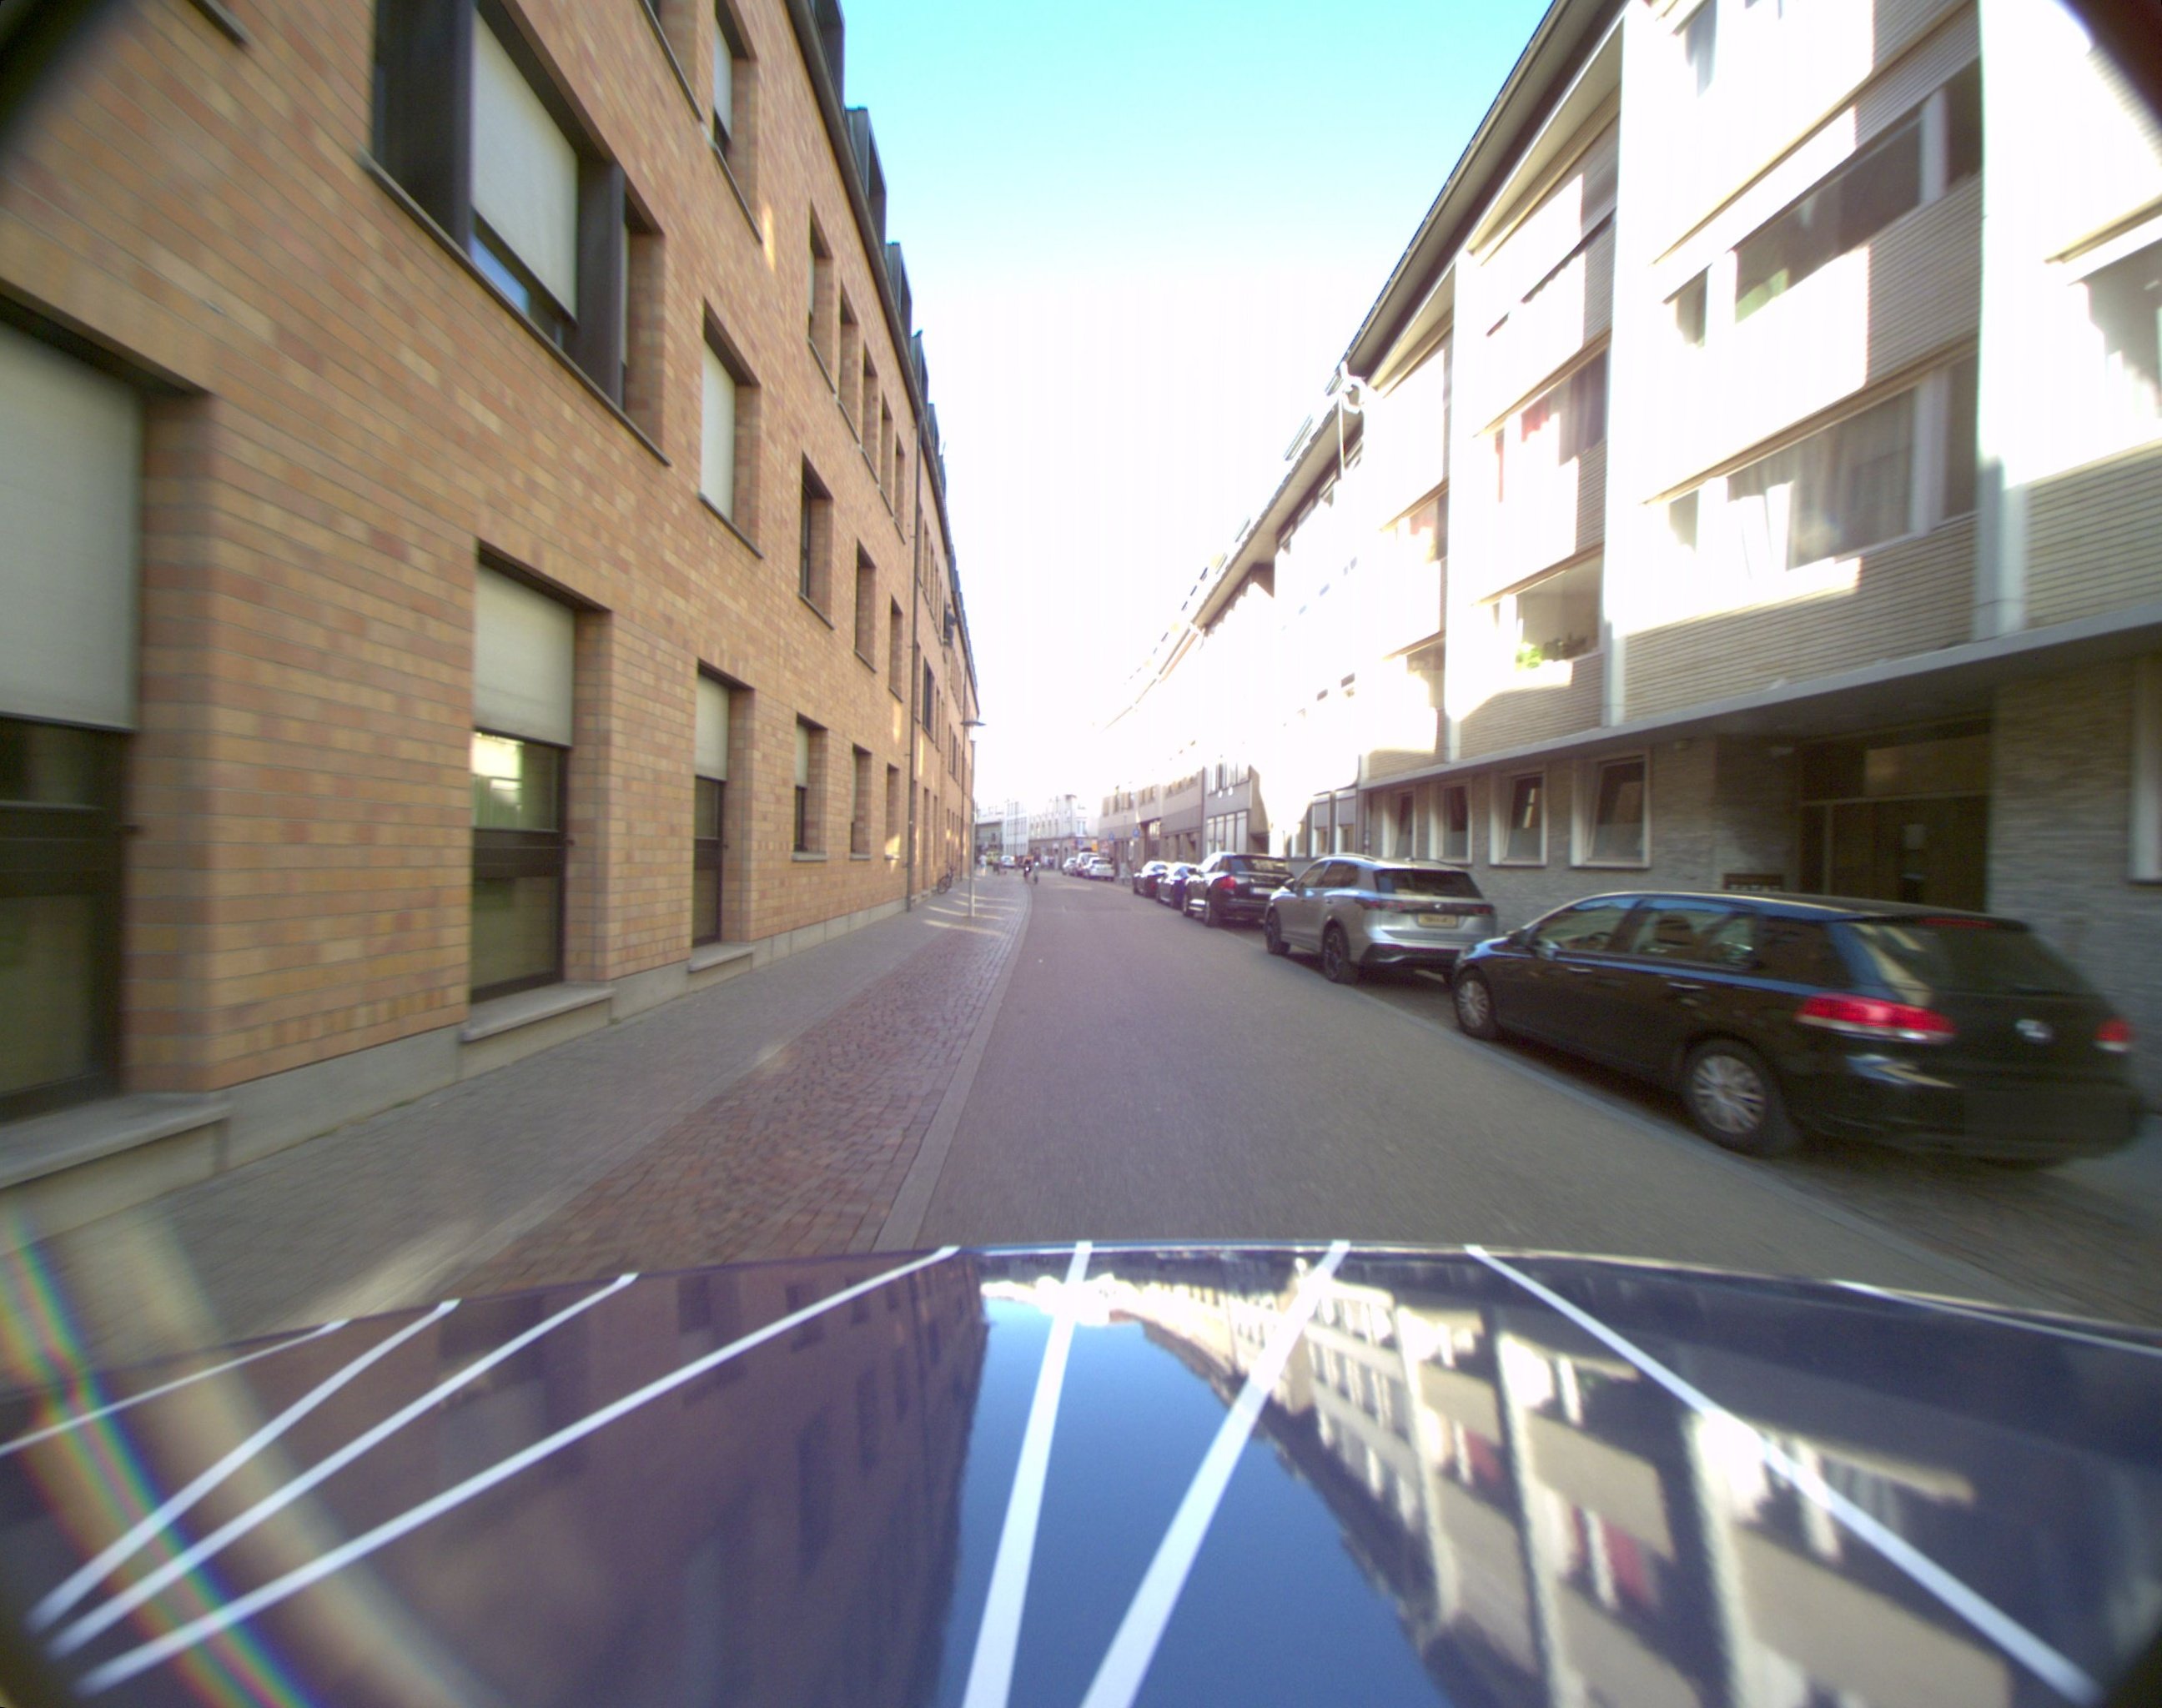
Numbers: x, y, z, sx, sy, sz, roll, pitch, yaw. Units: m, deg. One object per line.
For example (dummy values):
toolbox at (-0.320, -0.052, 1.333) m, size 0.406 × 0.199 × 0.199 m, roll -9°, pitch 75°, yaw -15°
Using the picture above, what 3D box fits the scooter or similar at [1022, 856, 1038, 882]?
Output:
scooter or similar at (-2.859, 0.823, 42.756) m, size 0.551 × 1.388 × 1.553 m, roll 1°, pitch 0°, yaw -16°

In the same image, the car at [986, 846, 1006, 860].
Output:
car at (-12.167, -0.102, 108.585) m, size 1.892 × 1.863 × 3.993 m, roll 4°, pitch 0°, yaw -19°

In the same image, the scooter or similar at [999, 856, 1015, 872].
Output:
scooter or similar at (-5.972, 0.788, 61.371) m, size 0.537 × 1.228 × 1.422 m, roll 0°, pitch 0°, yaw 32°

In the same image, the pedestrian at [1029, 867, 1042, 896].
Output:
pedestrian at (-3.136, 1.876, 52.002) m, size 0.716 × 2.002 × 0.698 m, roll 1°, pitch 1°, yaw -17°

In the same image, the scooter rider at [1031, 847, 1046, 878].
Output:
scooter rider at (-2.256, 0.421, 39.885) m, size 0.648 × 1.585 × 0.599 m, roll -1°, pitch 2°, yaw -16°

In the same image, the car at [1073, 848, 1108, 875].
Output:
car at (0.642, 0.546, 57.146) m, size 1.905 × 1.847 × 4.730 m, roll 3°, pitch 0°, yaw -7°

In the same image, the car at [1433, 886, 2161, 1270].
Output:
car at (4.340, 1.104, 5.391) m, size 1.653 × 1.452 × 3.998 m, roll 3°, pitch 0°, yaw -2°

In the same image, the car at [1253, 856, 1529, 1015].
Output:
car at (4.008, 0.936, 10.787) m, size 1.895 × 1.732 × 4.389 m, roll 1°, pitch 0°, yaw -3°

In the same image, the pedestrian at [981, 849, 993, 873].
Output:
pedestrian at (-6.906, 0.499, 55.702) m, size 0.763 × 1.706 × 0.821 m, roll 3°, pitch 0°, yaw -6°

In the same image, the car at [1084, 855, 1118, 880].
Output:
car at (1.306, 0.887, 51.338) m, size 1.675 × 1.513 × 3.772 m, roll 3°, pitch 0°, yaw -8°

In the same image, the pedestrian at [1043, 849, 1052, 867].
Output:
pedestrian at (-3.701, 0.468, 83.770) m, size 0.716 × 2.002 × 0.698 m, roll 1°, pitch 1°, yaw -17°

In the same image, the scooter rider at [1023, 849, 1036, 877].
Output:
scooter rider at (-2.895, 0.500, 42.826) m, size 0.592 × 1.500 × 0.599 m, roll -1°, pitch 2°, yaw -16°

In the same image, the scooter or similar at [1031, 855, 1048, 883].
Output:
scooter or similar at (-2.199, 0.784, 39.953) m, size 0.524 × 1.388 × 1.553 m, roll 1°, pitch 0°, yaw -16°

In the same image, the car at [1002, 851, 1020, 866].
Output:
car at (-7.901, 0.484, 85.618) m, size 1.720 × 1.509 × 4.156 m, roll 1°, pitch 0°, yaw -9°

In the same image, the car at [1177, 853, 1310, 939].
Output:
car at (3.676, 0.880, 18.134) m, size 1.895 × 1.666 × 4.552 m, roll 4°, pitch 0°, yaw -3°

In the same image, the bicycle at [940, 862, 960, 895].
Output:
bicycle at (-4.782, 0.877, 27.834) m, size 0.551 × 1.097 × 1.980 m, roll 4°, pitch 0°, yaw -8°

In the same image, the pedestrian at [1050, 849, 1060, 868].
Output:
pedestrian at (-2.908, 0.489, 84.170) m, size 0.938 × 2.002 × 0.698 m, roll 1°, pitch 1°, yaw -17°

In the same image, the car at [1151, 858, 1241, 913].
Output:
car at (3.567, 0.924, 24.356) m, size 1.895 × 1.521 × 4.337 m, roll 1°, pitch 0°, yaw -5°

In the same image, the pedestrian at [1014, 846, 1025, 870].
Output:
pedestrian at (-5.254, 0.346, 65.091) m, size 0.716 × 2.002 × 0.698 m, roll 1°, pitch 1°, yaw -17°

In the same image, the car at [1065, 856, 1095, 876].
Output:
car at (-0.091, 0.963, 62.811) m, size 1.743 × 1.483 × 3.795 m, roll 3°, pitch 0°, yaw -11°

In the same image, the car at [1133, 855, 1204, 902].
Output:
car at (3.345, 0.894, 30.017) m, size 1.895 × 1.521 × 4.726 m, roll 5°, pitch 0°, yaw -3°
